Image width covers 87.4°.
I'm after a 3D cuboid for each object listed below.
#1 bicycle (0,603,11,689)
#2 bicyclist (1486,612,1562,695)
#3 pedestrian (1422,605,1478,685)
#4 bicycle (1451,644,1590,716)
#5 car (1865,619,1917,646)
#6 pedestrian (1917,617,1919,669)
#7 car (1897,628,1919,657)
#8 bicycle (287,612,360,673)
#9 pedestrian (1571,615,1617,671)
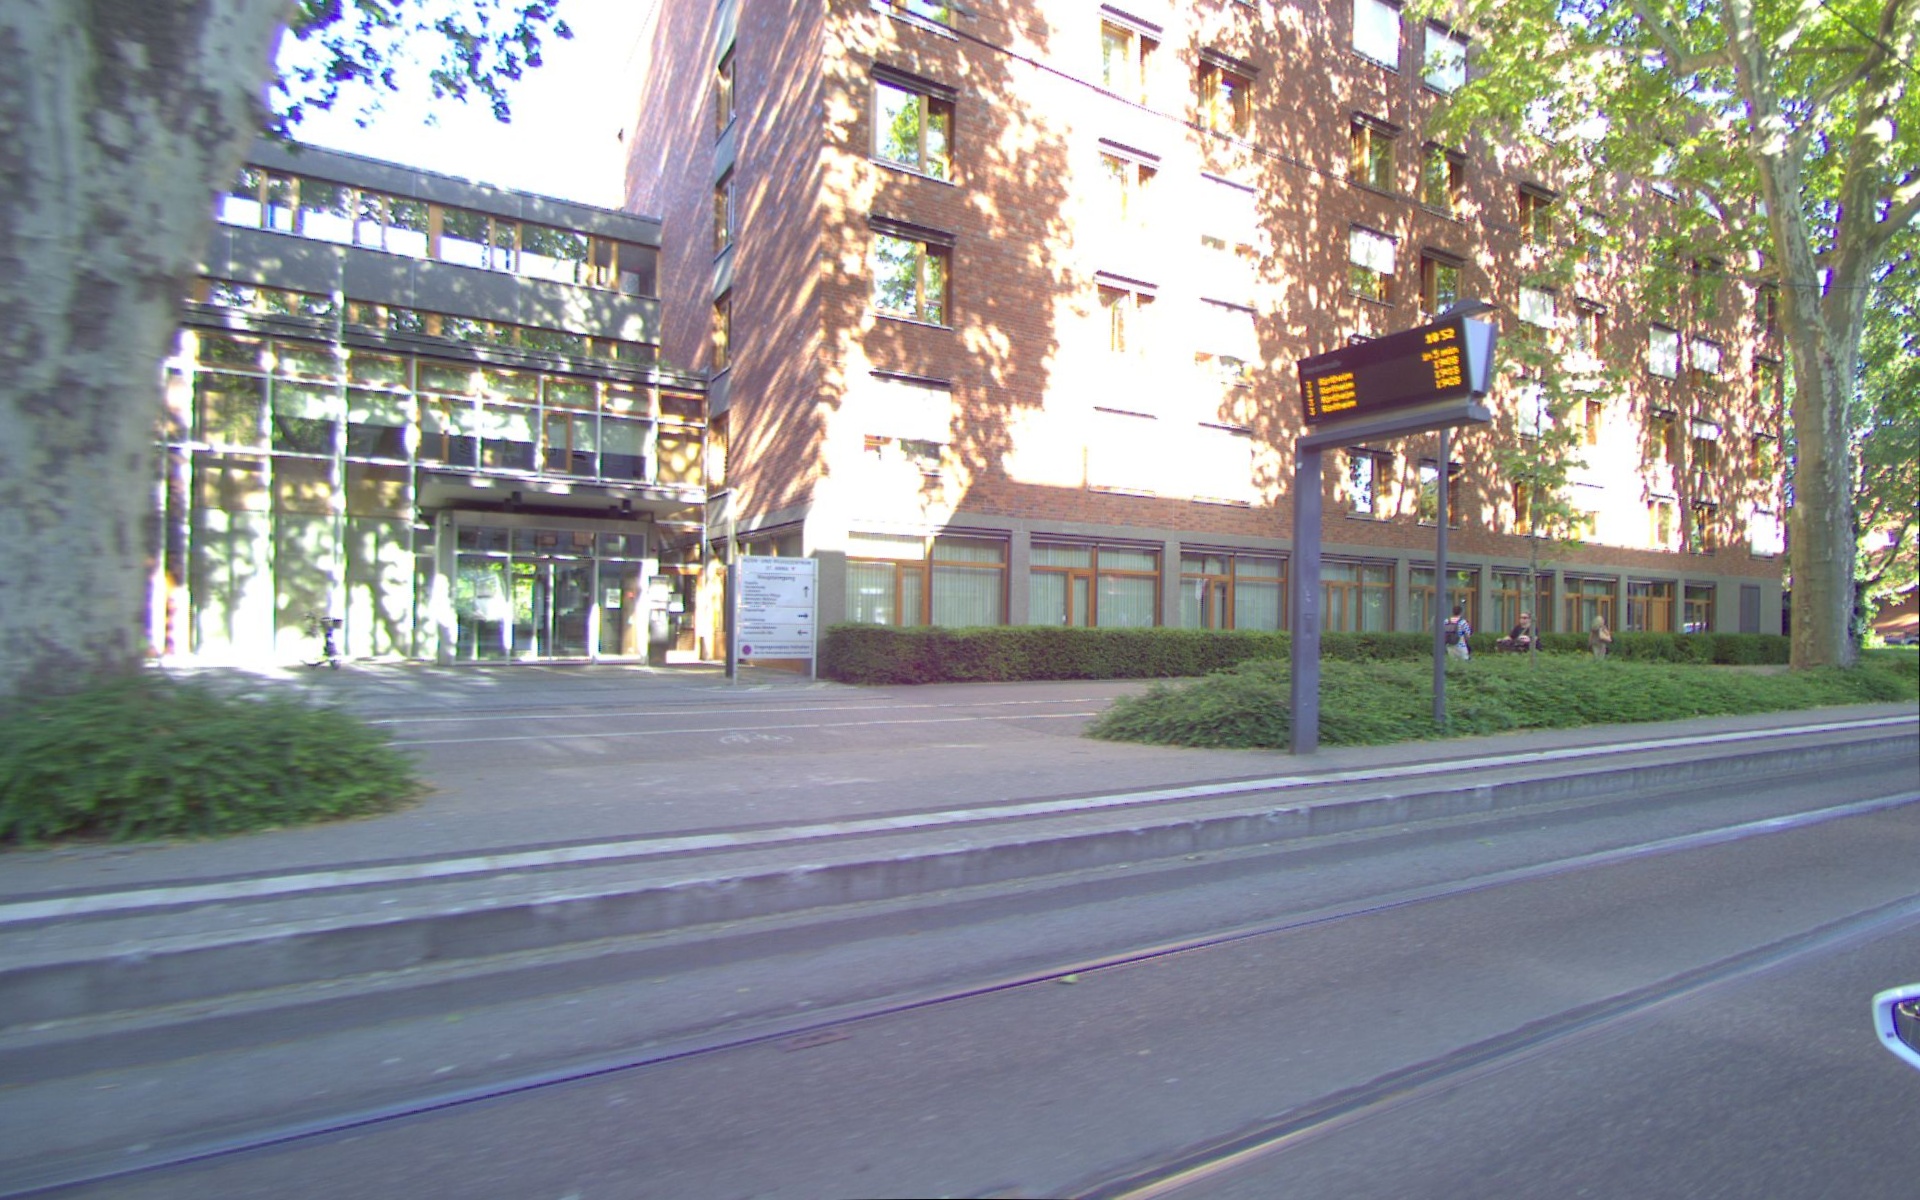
[{"bbox_3d":[-14.255,0.646,13.898,0.668,1.235,1.501,1,0,12],"label":"bicycle"},{"bbox_3d":[10.711,1.003,19.093,0.828,1.511,0.950,2,0,-30],"label":"bicyclist"},{"bbox_3d":[10.781,0.981,22.093,0.851,1.694,0.732,2,0,-30],"label":"pedestrian"},{"bbox_3d":[10.674,1.488,19.083,2.943,1.256,0.950,2,0,-30],"label":"bicycle"},{"bbox_3d":[74.010,2.586,79.816,3.953,2.040,1.984,2,0,-30],"label":"car"},{"bbox_3d":[36.843,1.657,38.099,0.663,1.976,0.496,2,0,-18],"label":"pedestrian"},{"bbox_3d":[70.049,3.117,71.710,1.976,2.040,4.230,2,0,-30],"label":"car"},{"bbox_3d":[-12.478,0.810,19.667,1.920,1.087,0.760,1,0,44],"label":"bicycle"},{"bbox_3d":[18.748,1.271,29.709,0.935,1.626,0.771,2,0,-30],"label":"pedestrian"}]
